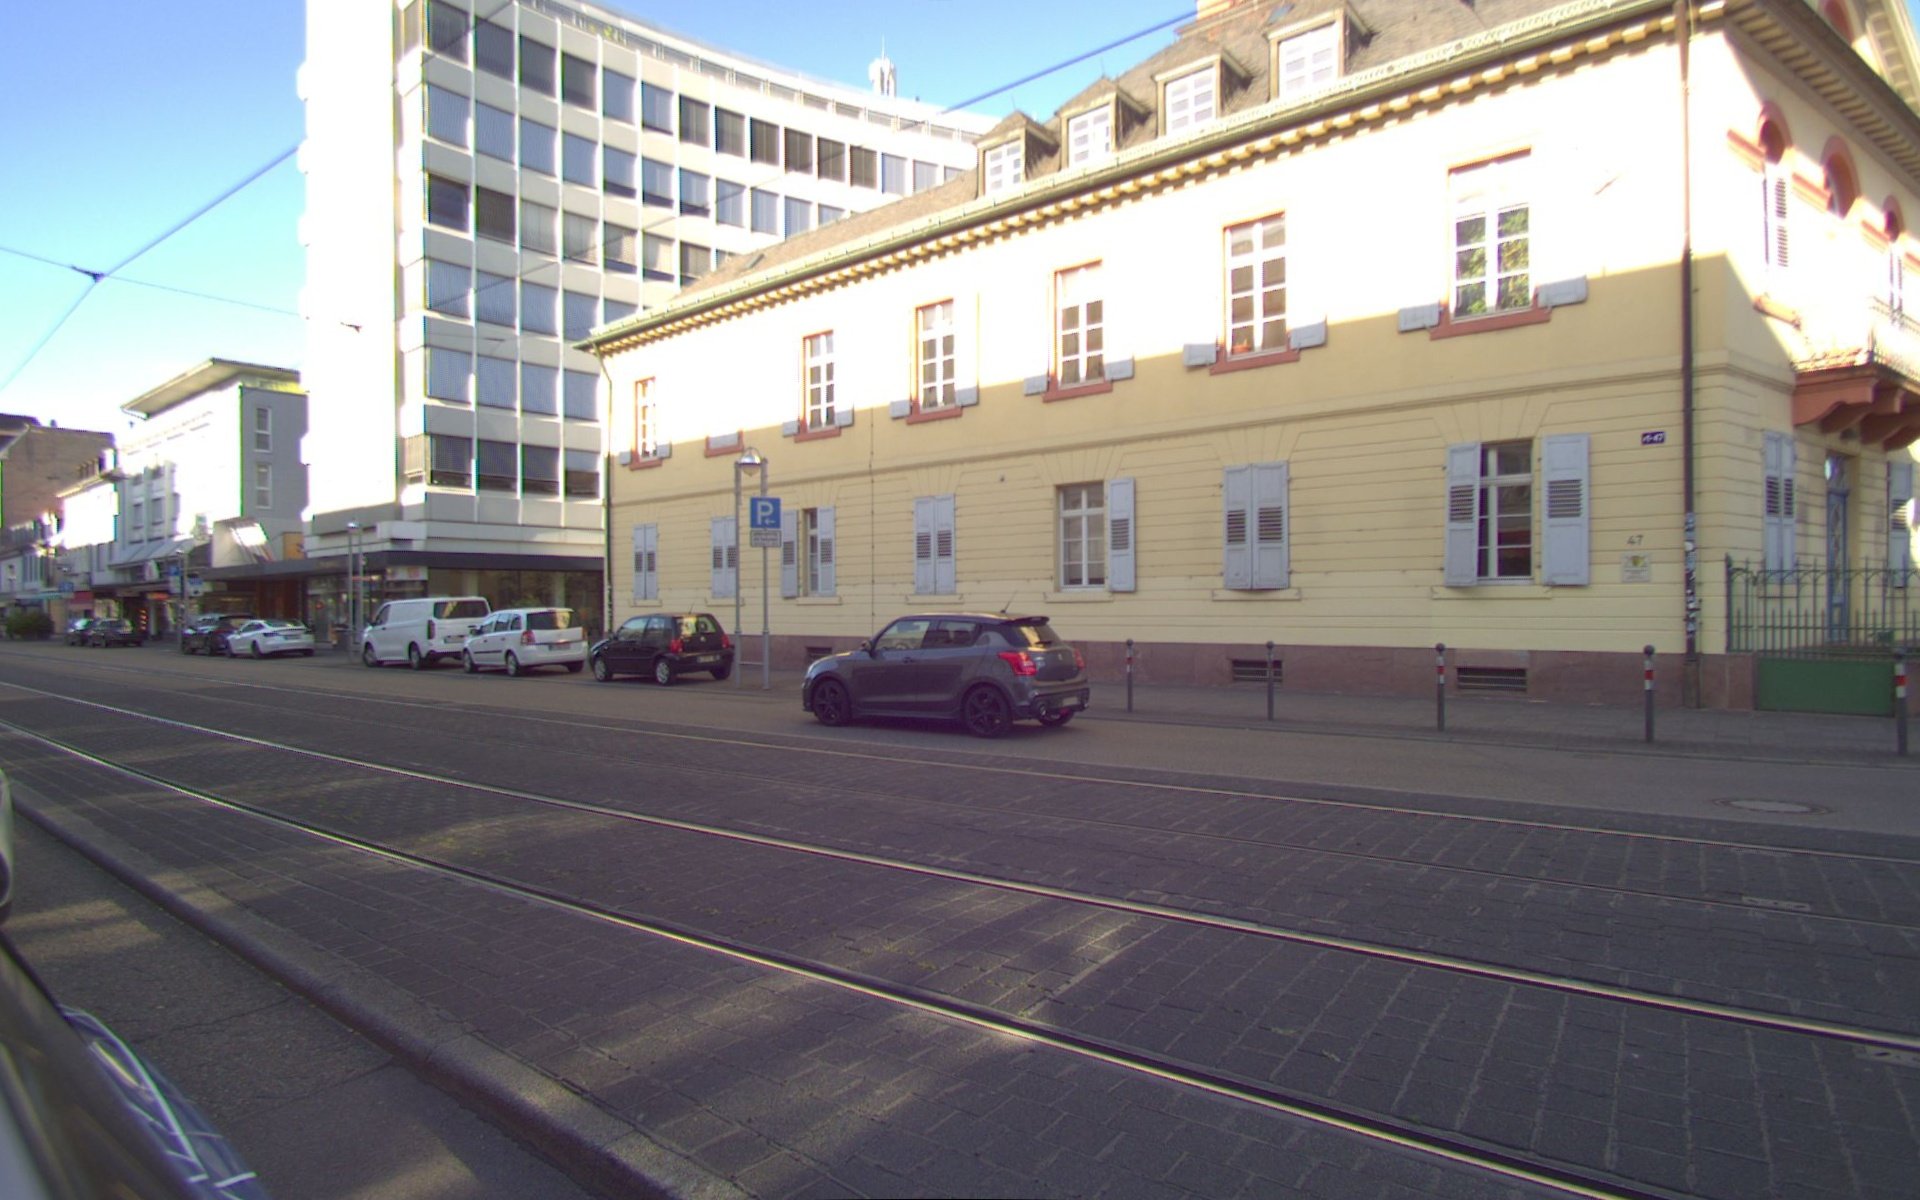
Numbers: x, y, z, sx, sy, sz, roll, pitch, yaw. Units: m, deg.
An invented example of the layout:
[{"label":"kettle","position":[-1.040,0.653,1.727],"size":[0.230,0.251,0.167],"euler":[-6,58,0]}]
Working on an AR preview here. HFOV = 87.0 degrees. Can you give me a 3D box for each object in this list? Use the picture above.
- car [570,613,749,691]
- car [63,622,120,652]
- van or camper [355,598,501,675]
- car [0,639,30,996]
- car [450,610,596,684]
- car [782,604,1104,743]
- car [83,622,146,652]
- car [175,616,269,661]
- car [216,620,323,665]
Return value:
[{"label":"car","position":[-6.482,1.044,21.654],"size":[3.958,1.450,1.759],"euler":[-1,1,40]},{"label":"car","position":[-47.902,2.007,55.771],"size":[3.830,1.531,1.764],"euler":[-1,0,40]},{"label":"van or camper","position":[-15.307,0.992,29.011],"size":[4.792,1.988,1.936],"euler":[-1,1,39]},{"label":"car","position":[-6.306,0.904,5.050],"size":[4.771,1.450,1.845],"euler":[-1,-2,40]},{"label":"car","position":[-11.012,1.110,25.379],"size":[4.175,1.632,1.758],"euler":[-1,1,42]},{"label":"car","position":[-0.283,0.855,12.936],"size":[3.851,1.521,1.761],"euler":[-1,-2,35]},{"label":"car","position":[-43.651,1.884,52.241],"size":[3.593,1.427,1.764],"euler":[-1,0,38]},{"label":"car","position":[-29.842,1.519,40.886],"size":[4.275,1.654,1.908],"euler":[-1,1,37]},{"label":"car","position":[-25.576,1.523,37.457],"size":[4.285,1.463,1.909],"euler":[-1,1,36]}]
